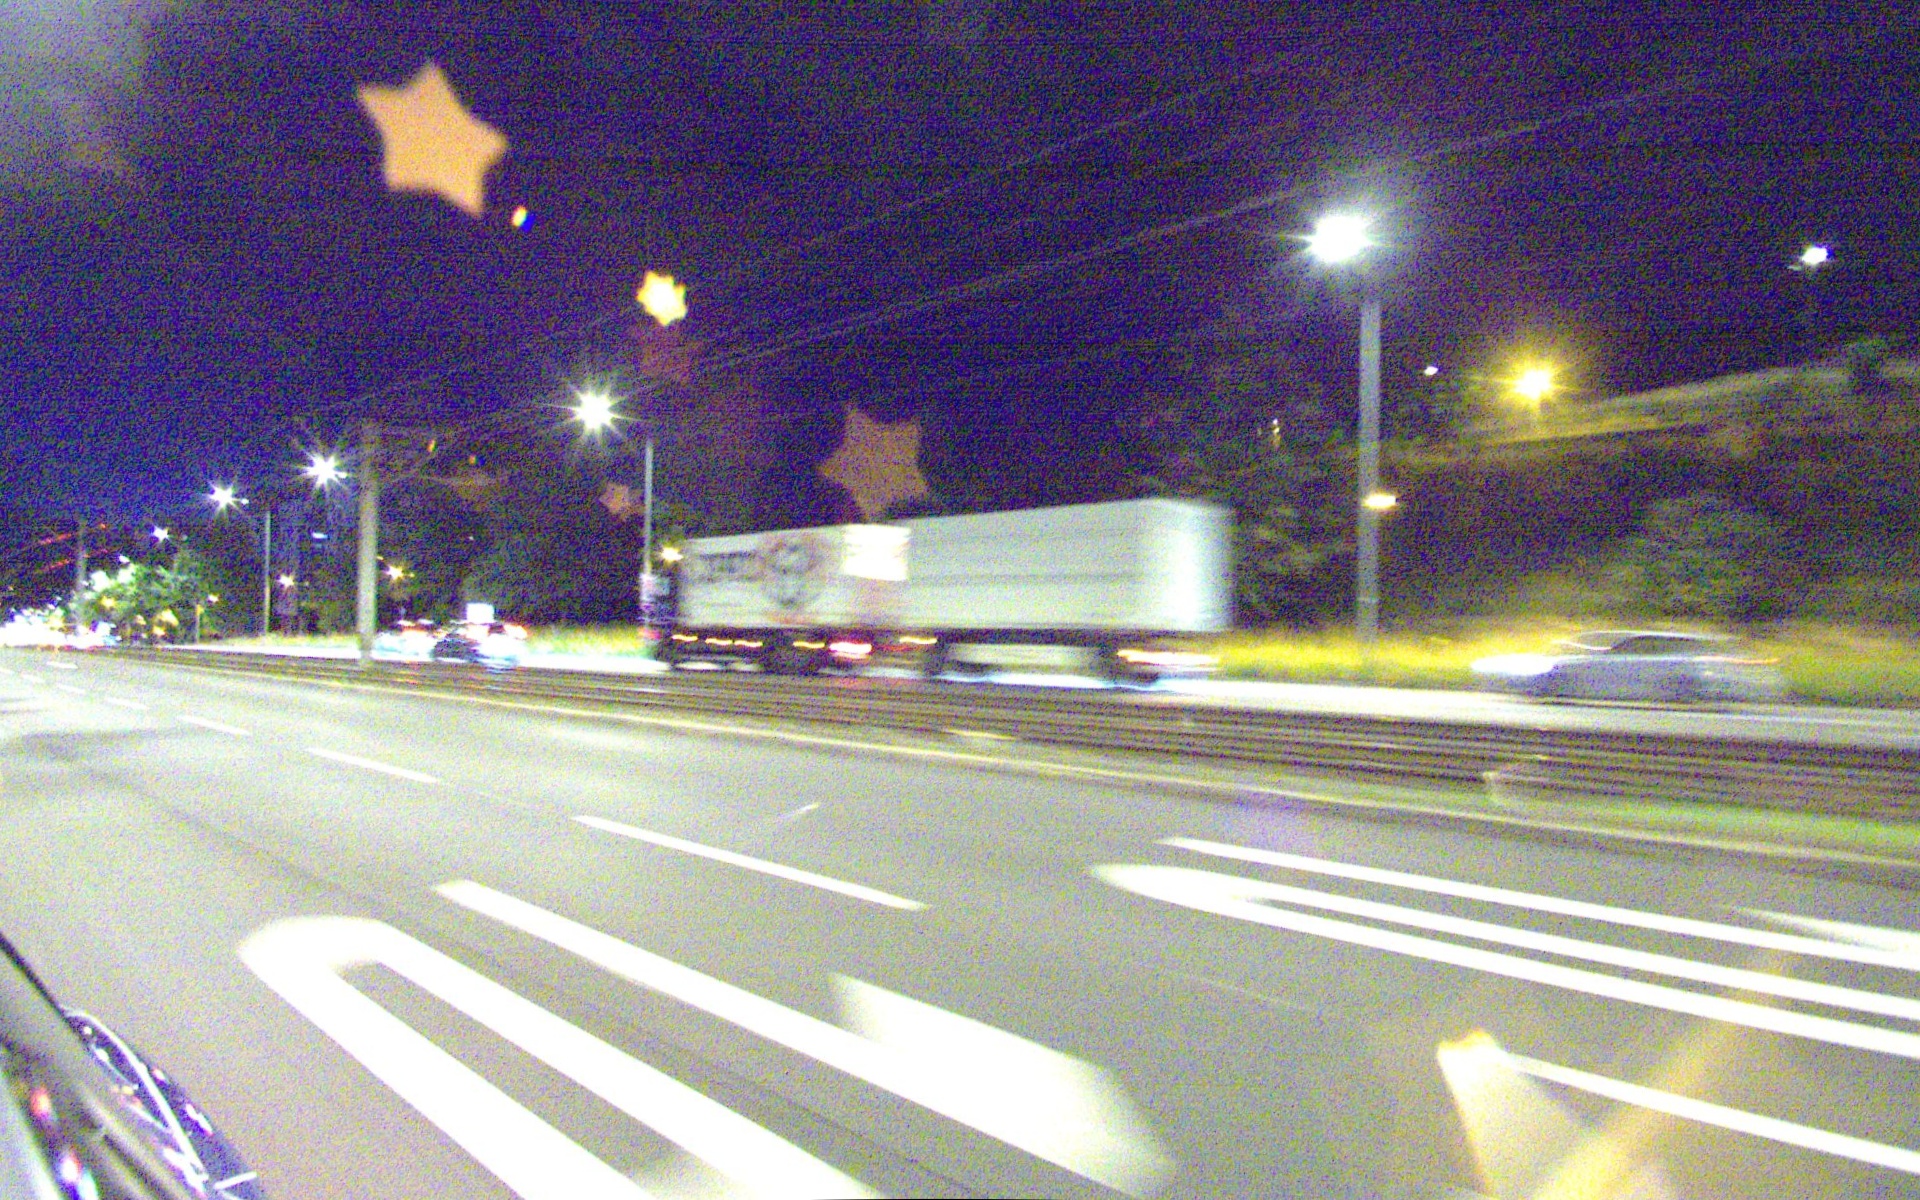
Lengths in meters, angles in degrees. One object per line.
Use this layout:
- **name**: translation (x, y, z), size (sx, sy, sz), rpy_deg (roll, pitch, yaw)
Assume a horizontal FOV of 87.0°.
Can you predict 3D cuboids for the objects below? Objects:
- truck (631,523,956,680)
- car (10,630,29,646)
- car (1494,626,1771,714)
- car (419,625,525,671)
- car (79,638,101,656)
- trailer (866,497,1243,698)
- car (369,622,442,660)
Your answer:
- **truck**: translation (-5.300, 0.079, 30.348), size (10.410, 3.984, 3.645), rpy_deg (-1, 0, 39)
- **car**: translation (-127.708, 5.154, 137.415), size (1.769, 1.921, 4.002), rpy_deg (-1, 0, -45)
- **car**: translation (12.672, 1.258, 19.225), size (4.198, 1.492, 1.967), rpy_deg (-1, -3, 38)
- **car**: translation (-17.358, 1.641, 35.923), size (4.079, 1.510, 1.787), rpy_deg (-1, -1, 38)
- **car**: translation (-107.975, 5.829, 125.688), size (2.030, 2.029, 4.006), rpy_deg (-1, 0, -40)
- **trailer**: translation (2.039, -0.021, 24.280), size (8.387, 4.020, 3.660), rpy_deg (-1, 0, 39)
- **car**: translation (-25.736, 1.855, 46.925), size (3.960, 1.637, 1.707), rpy_deg (-1, 0, 41)
